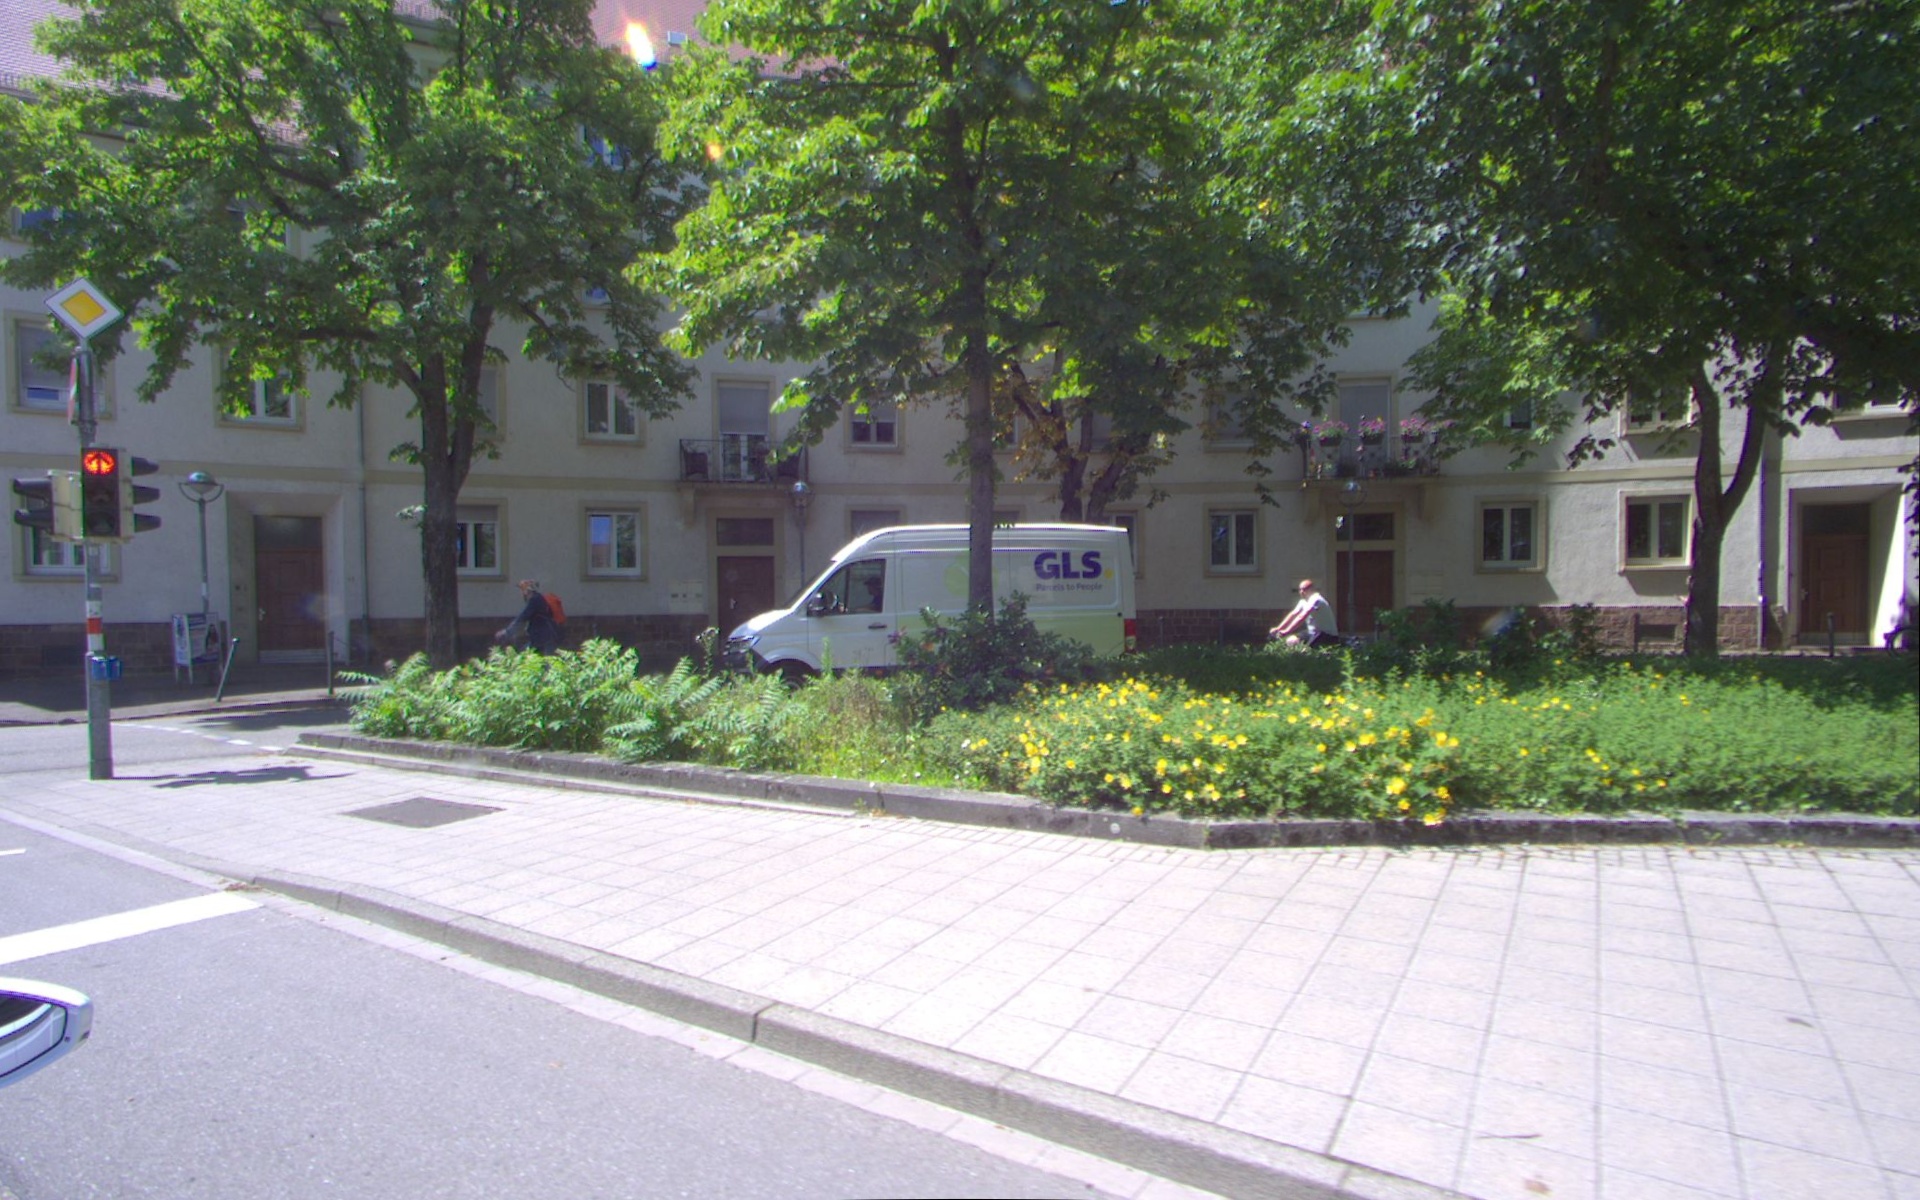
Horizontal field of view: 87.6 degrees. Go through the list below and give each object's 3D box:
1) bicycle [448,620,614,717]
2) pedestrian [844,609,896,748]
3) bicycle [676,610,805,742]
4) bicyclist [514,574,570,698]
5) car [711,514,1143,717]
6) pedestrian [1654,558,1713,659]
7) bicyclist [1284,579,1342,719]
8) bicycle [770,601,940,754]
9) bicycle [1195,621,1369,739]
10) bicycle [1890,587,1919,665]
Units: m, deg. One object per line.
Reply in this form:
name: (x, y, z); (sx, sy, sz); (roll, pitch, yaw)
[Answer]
bicycle: (-5.876, 0.906, 13.782); (2.054, 1.253, 0.578); (0, 0, -25)
pedestrian: (-0.861, 0.736, 9.587); (0.345, 1.301, 0.365); (0, 0, 32)
bicycle: (-2.018, 0.685, 9.136); (1.269, 1.141, 0.332); (-2, -1, 33)
bicyclist: (-5.778, 0.492, 13.839); (0.684, 1.667, 0.578); (0, 0, -24)
car: (-0.481, 0.201, 14.299); (5.738, 2.624, 1.999); (0, 0, -7)
pedestrian: (15.061, 0.181, 20.862); (0.759, 2.040, 0.806); (0, 0, 17)
bicyclist: (4.687, 0.642, 13.315); (0.524, 1.823, 0.604); (0, 0, -3)
bicycle: (-1.047, 0.718, 9.699); (1.809, 1.377, 0.351); (-1, 0, 33)
bicycle: (4.254, 1.034, 13.288); (2.126, 1.505, 0.593); (0, 0, -5)
bicycle: (17.412, 0.469, 18.334); (0.510, 1.362, 2.307); (0, -1, 44)
